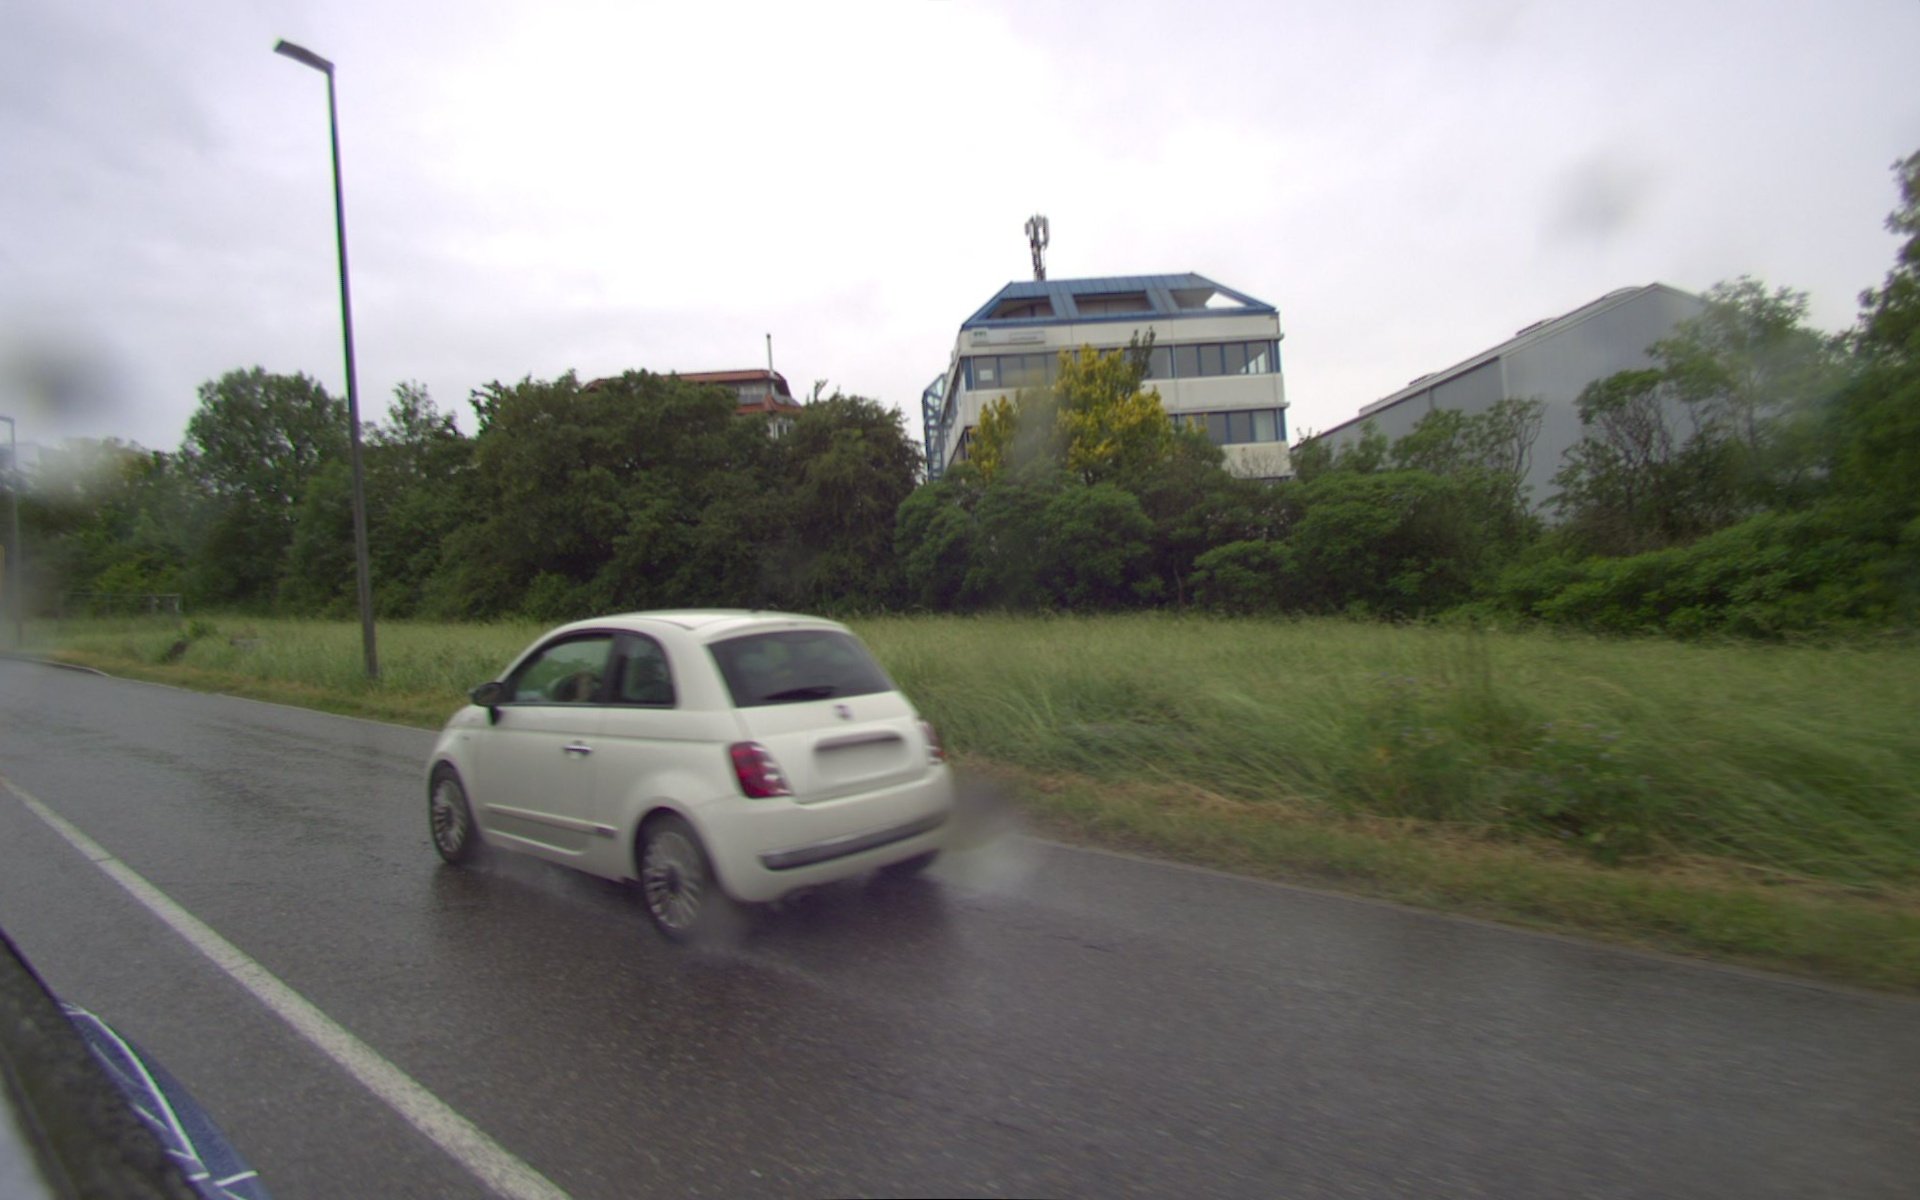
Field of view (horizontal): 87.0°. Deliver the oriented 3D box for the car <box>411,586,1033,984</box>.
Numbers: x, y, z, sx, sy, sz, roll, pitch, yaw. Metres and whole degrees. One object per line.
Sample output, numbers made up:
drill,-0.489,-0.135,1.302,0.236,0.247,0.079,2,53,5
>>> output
car,-1.469,0.727,5.577,3.452,1.500,1.622,-1,-1,40
